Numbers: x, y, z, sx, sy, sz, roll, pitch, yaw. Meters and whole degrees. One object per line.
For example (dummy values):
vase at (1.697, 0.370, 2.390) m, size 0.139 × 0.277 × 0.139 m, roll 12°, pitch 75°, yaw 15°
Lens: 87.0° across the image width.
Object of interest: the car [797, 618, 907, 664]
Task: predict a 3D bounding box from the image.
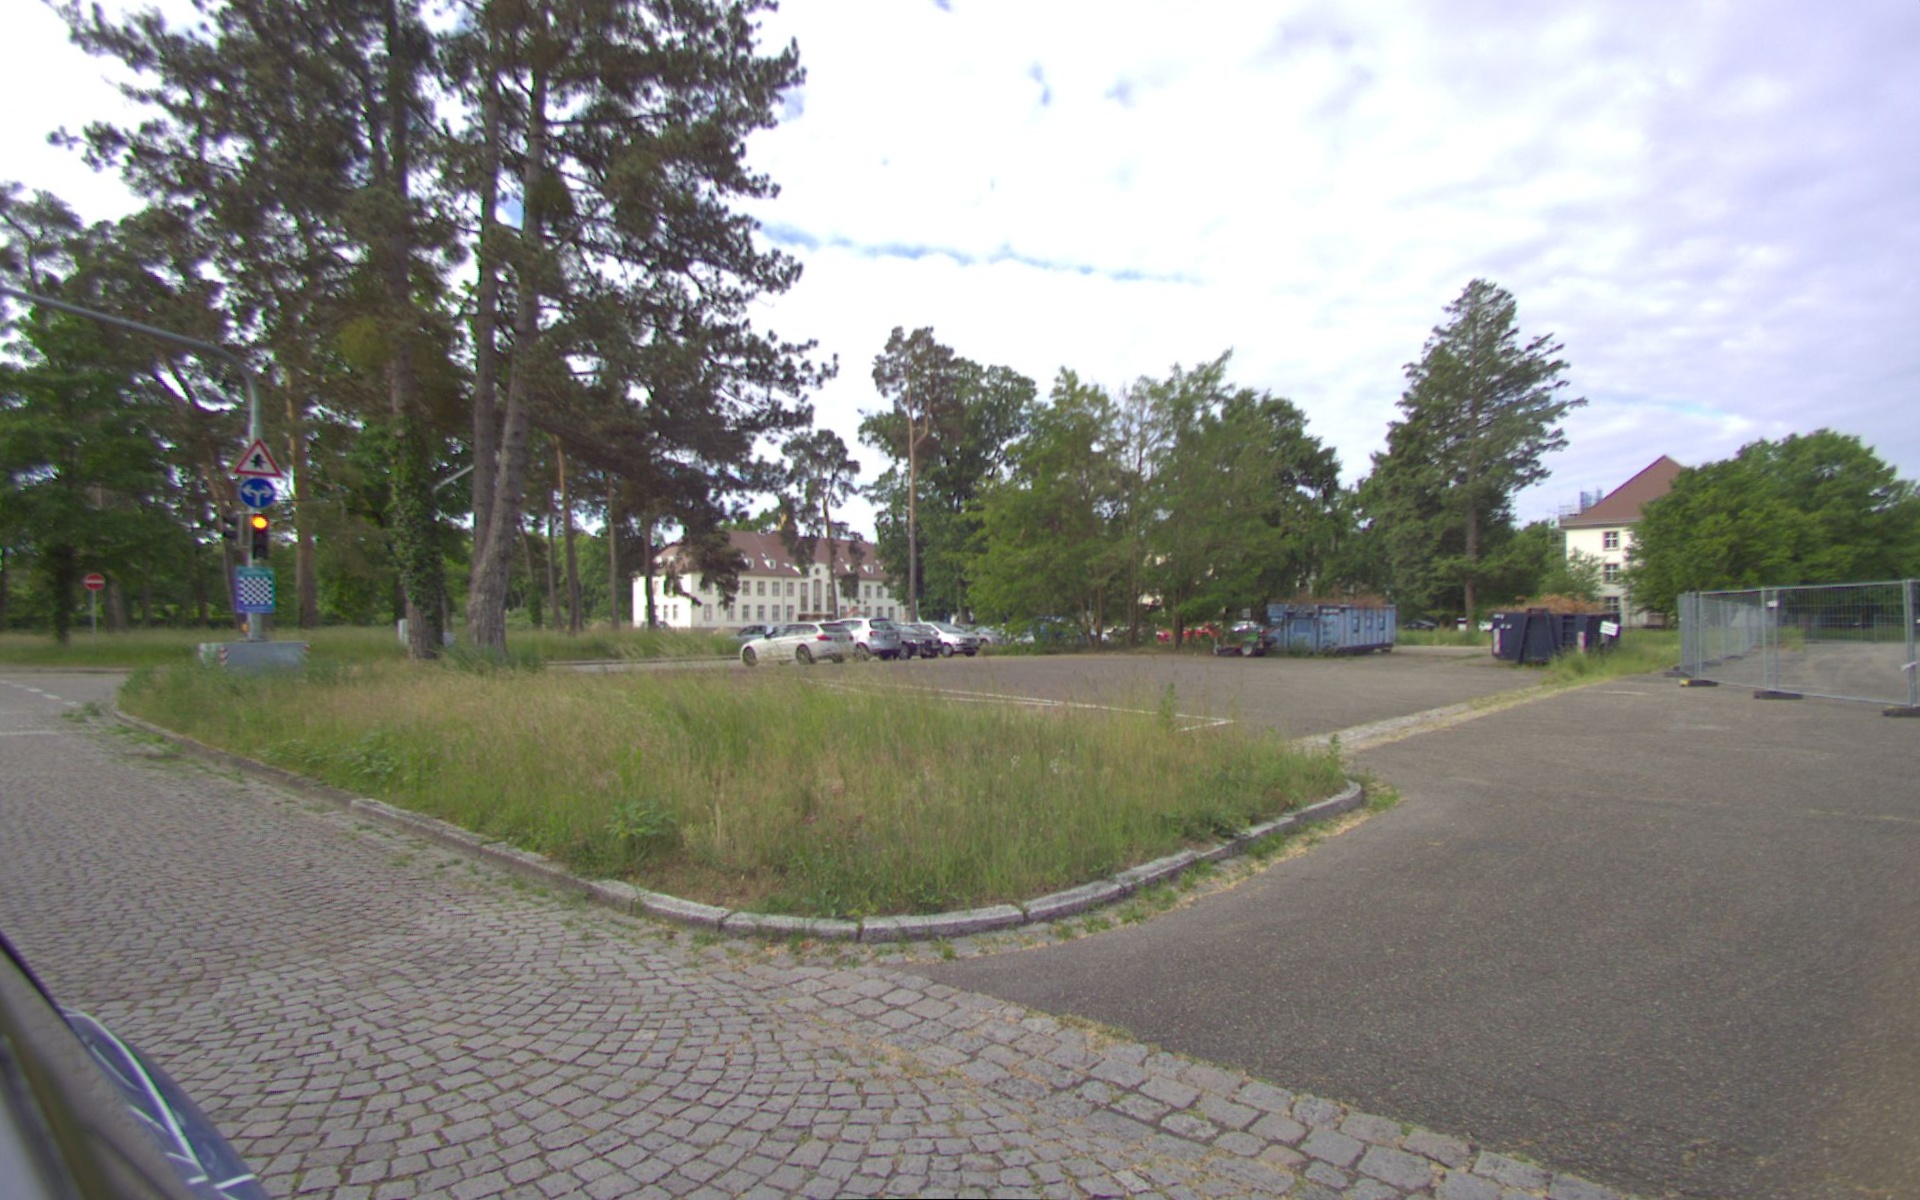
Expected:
car at (-3.922, 1.479, 36.413) m, size 3.894 × 1.532 × 1.653 m, roll -4°, pitch -3°, yaw 39°

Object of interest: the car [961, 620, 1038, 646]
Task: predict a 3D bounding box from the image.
car at (2.365, 1.977, 61.198) m, size 4.395 × 1.486 × 1.808 m, roll -2°, pitch -2°, yaw 37°

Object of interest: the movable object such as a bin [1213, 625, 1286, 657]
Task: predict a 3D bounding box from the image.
movable object such as a bin at (9.515, 1.336, 33.271) m, size 1.953 × 0.976 × 1.431 m, roll -1°, pitch -2°, yaw 34°

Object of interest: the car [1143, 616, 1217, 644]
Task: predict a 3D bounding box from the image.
car at (12.088, 1.642, 55.713) m, size 3.589 × 1.486 × 1.658 m, roll -2°, pitch -2°, yaw 39°

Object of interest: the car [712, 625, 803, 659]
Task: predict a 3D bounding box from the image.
car at (-9.537, 1.953, 47.423) m, size 4.397 × 1.486 × 1.807 m, roll -2°, pitch -2°, yaw 39°

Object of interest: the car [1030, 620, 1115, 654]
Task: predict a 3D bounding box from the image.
car at (5.225, 1.716, 47.233) m, size 3.589 × 1.486 × 1.658 m, roll -2°, pitch -2°, yaw 39°

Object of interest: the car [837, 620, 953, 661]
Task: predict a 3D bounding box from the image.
car at (-2.516, 1.530, 38.662) m, size 4.397 × 1.486 × 1.807 m, roll -2°, pitch -2°, yaw 39°

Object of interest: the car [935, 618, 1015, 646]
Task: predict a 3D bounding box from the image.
car at (0.858, 1.874, 58.671) m, size 4.395 × 1.486 × 1.808 m, roll -2°, pitch 1°, yaw 37°

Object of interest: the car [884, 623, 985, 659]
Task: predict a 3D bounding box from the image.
car at (-1.069, 1.648, 41.064) m, size 4.033 × 1.410 × 1.616 m, roll -2°, pitch -2°, yaw 39°

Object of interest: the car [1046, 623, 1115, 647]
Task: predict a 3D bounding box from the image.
car at (7.905, 2.302, 66.598) m, size 4.187 × 1.486 × 1.805 m, roll -2°, pitch -2°, yaw 41°

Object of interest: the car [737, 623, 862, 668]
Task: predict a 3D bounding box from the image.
car at (-5.507, 1.518, 34.510) m, size 4.315 × 1.436 × 1.807 m, roll -2°, pitch -2°, yaw 39°

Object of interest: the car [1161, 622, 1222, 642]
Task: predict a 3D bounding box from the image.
car at (18.159, 2.492, 79.537) m, size 4.400 × 1.486 × 1.805 m, roll -2°, pitch -2°, yaw 41°

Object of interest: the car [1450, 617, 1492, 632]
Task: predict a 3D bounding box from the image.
car at (62.632, 3.062, 124.106) m, size 4.290 × 1.735 × 1.805 m, roll -2°, pitch 0°, yaw 43°

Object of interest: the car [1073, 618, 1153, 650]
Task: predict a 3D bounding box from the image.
car at (7.596, 1.682, 50.356) m, size 3.589 × 1.486 × 1.658 m, roll -2°, pitch -2°, yaw 39°
